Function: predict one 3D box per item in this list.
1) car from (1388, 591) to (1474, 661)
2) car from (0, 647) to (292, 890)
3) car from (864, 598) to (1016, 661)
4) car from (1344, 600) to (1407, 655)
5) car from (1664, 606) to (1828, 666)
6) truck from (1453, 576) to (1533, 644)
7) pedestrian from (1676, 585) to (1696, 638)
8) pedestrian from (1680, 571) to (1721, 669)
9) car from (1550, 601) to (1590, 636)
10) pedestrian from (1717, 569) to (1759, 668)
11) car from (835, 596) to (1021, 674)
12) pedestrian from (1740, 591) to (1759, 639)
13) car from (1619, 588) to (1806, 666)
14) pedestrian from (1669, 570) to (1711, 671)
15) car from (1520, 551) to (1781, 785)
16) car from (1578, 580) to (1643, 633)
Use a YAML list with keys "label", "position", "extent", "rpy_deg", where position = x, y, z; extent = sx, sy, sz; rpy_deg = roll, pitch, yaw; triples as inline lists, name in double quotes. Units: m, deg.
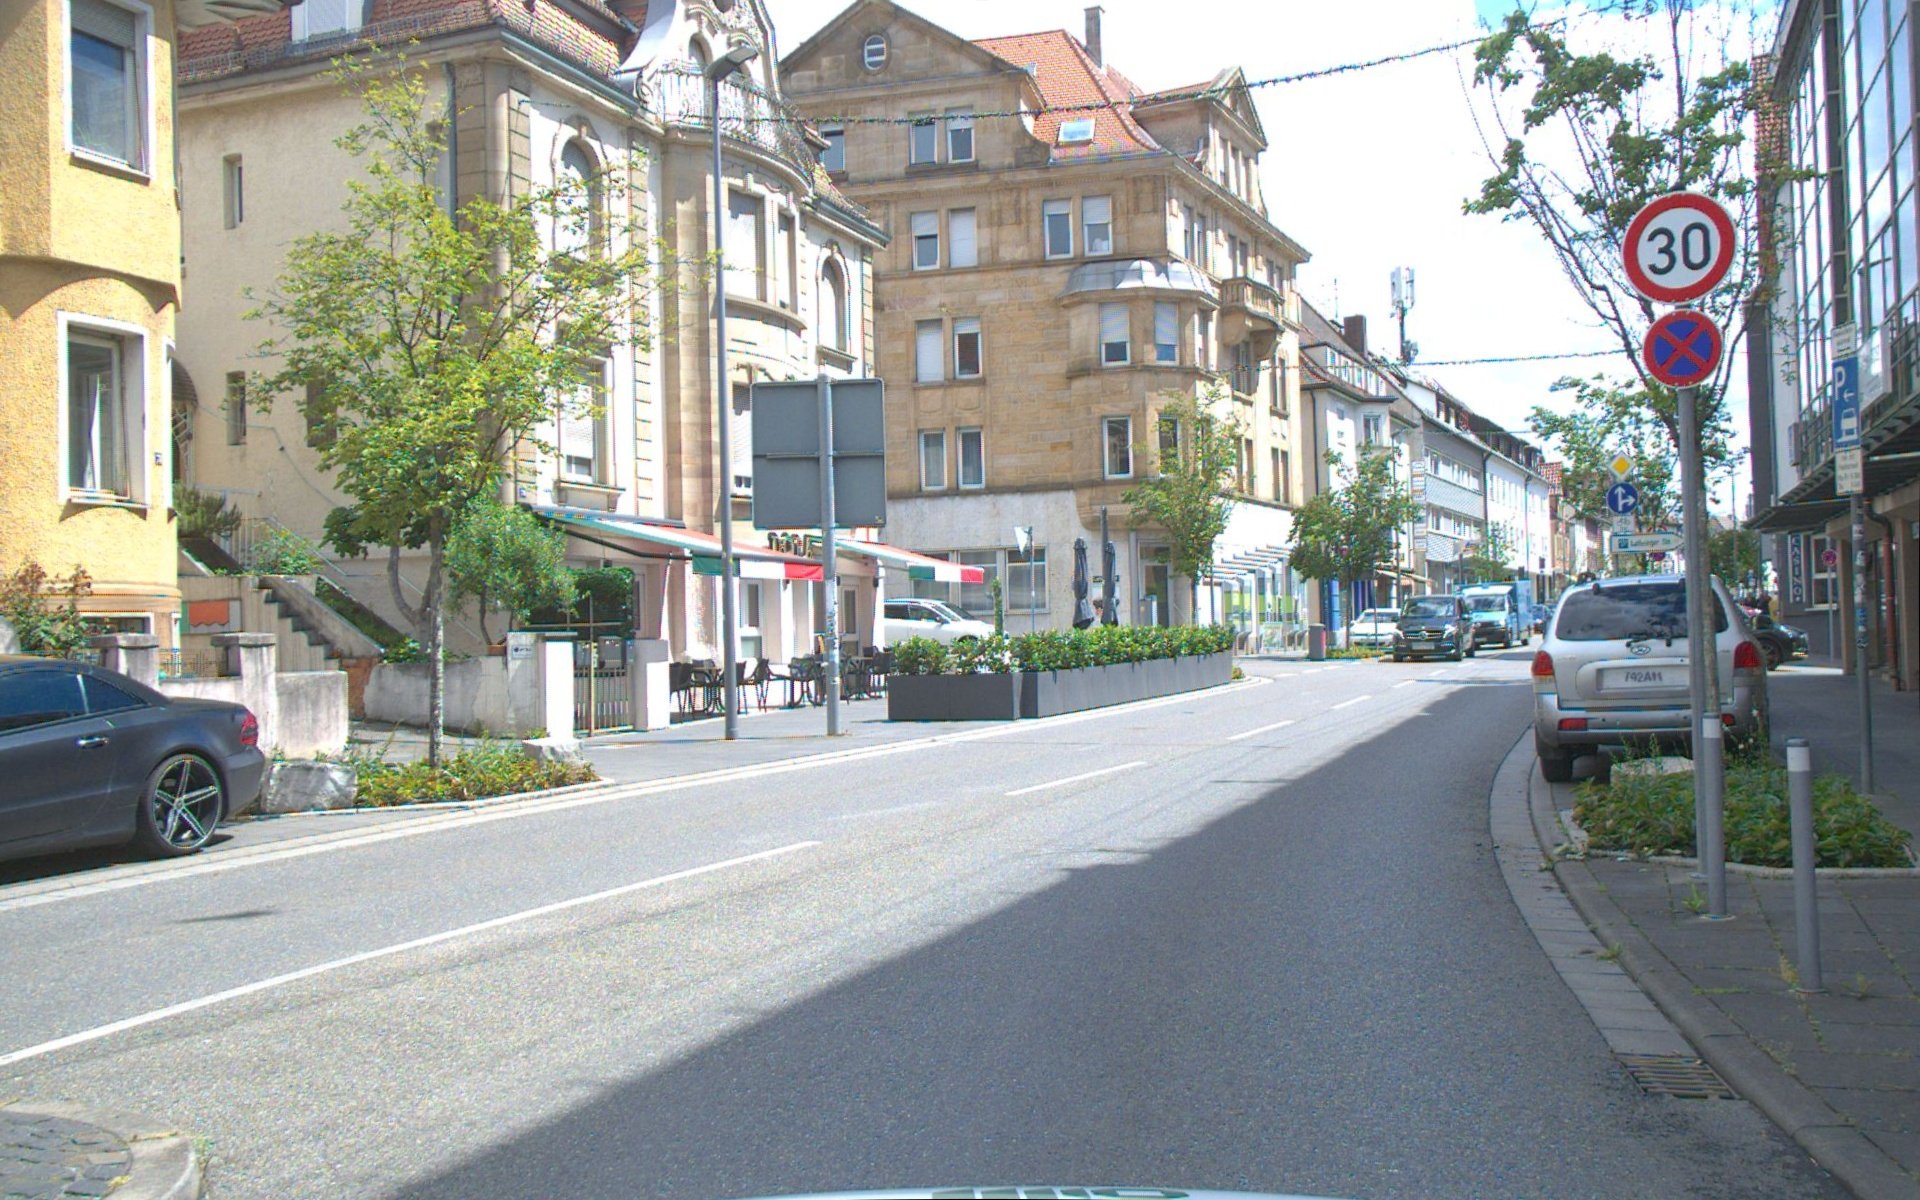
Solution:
- label: "car"
  position: [13.605, 0.728, 47.634]
  extent: [1.797, 1.867, 4.568]
  rpy_deg: [-2, -1, 23]
- label: "car"
  position: [-6.074, 0.980, 9.439]
  extent: [1.674, 1.267, 4.412]
  rpy_deg: [-1, 0, 20]
- label: "car"
  position: [-0.549, 0.827, 46.948]
  extent: [3.903, 1.691, 1.910]
  rpy_deg: [-1, -1, 18]
- label: "car"
  position: [13.917, 0.897, 55.258]
  extent: [1.674, 1.742, 4.002]
  rpy_deg: [-1, 0, 19]
- label: "car"
  position: [19.261, 0.867, 40.681]
  extent: [3.547, 1.438, 1.589]
  rpy_deg: [0, -1, 22]
- label: "truck"
  position: [18.606, 0.314, 57.623]
  extent: [2.024, 2.203, 5.291]
  rpy_deg: [-2, -1, 24]
- label: "pedestrian"
  position: [28.222, 0.446, 64.285]
  extent: [0.669, 2.049, 0.598]
  rpy_deg: [-1, -1, 27]
- label: "pedestrian"
  position: [15.688, 0.417, 35.047]
  extent: [0.674, 2.049, 0.724]
  rpy_deg: [-1, -1, 18]
- label: "car"
  position: [28.934, 0.870, 78.409]
  extent: [1.662, 1.613, 3.957]
  rpy_deg: [-1, -1, 22]
- label: "pedestrian"
  position: [16.461, 0.395, 35.000]
  extent: [0.674, 2.049, 0.724]
  rpy_deg: [-1, -1, 18]
- label: "car"
  position: [-0.749, 0.867, 40.958]
  extent: [4.324, 1.807, 2.001]
  rpy_deg: [-1, -1, 7]
- label: "pedestrian"
  position: [34.013, 0.639, 71.248]
  extent: [0.668, 2.049, 0.599]
  rpy_deg: [-1, -1, 20]
- label: "car"
  position: [17.601, 0.623, 38.743]
  extent: [3.909, 1.738, 1.673]
  rpy_deg: [0, -1, 26]
- label: "pedestrian"
  position: [15.081, 0.423, 34.196]
  extent: [0.674, 2.049, 0.724]
  rpy_deg: [-1, -1, 18]
- label: "car"
  position: [6.233, 0.559, 14.730]
  extent: [1.788, 1.761, 4.229]
  rpy_deg: [-3, -2, 26]
- label: "car"
  position: [25.169, 0.228, 63.875]
  extent: [1.932, 1.908, 5.033]
  rpy_deg: [-2, -1, 25]
